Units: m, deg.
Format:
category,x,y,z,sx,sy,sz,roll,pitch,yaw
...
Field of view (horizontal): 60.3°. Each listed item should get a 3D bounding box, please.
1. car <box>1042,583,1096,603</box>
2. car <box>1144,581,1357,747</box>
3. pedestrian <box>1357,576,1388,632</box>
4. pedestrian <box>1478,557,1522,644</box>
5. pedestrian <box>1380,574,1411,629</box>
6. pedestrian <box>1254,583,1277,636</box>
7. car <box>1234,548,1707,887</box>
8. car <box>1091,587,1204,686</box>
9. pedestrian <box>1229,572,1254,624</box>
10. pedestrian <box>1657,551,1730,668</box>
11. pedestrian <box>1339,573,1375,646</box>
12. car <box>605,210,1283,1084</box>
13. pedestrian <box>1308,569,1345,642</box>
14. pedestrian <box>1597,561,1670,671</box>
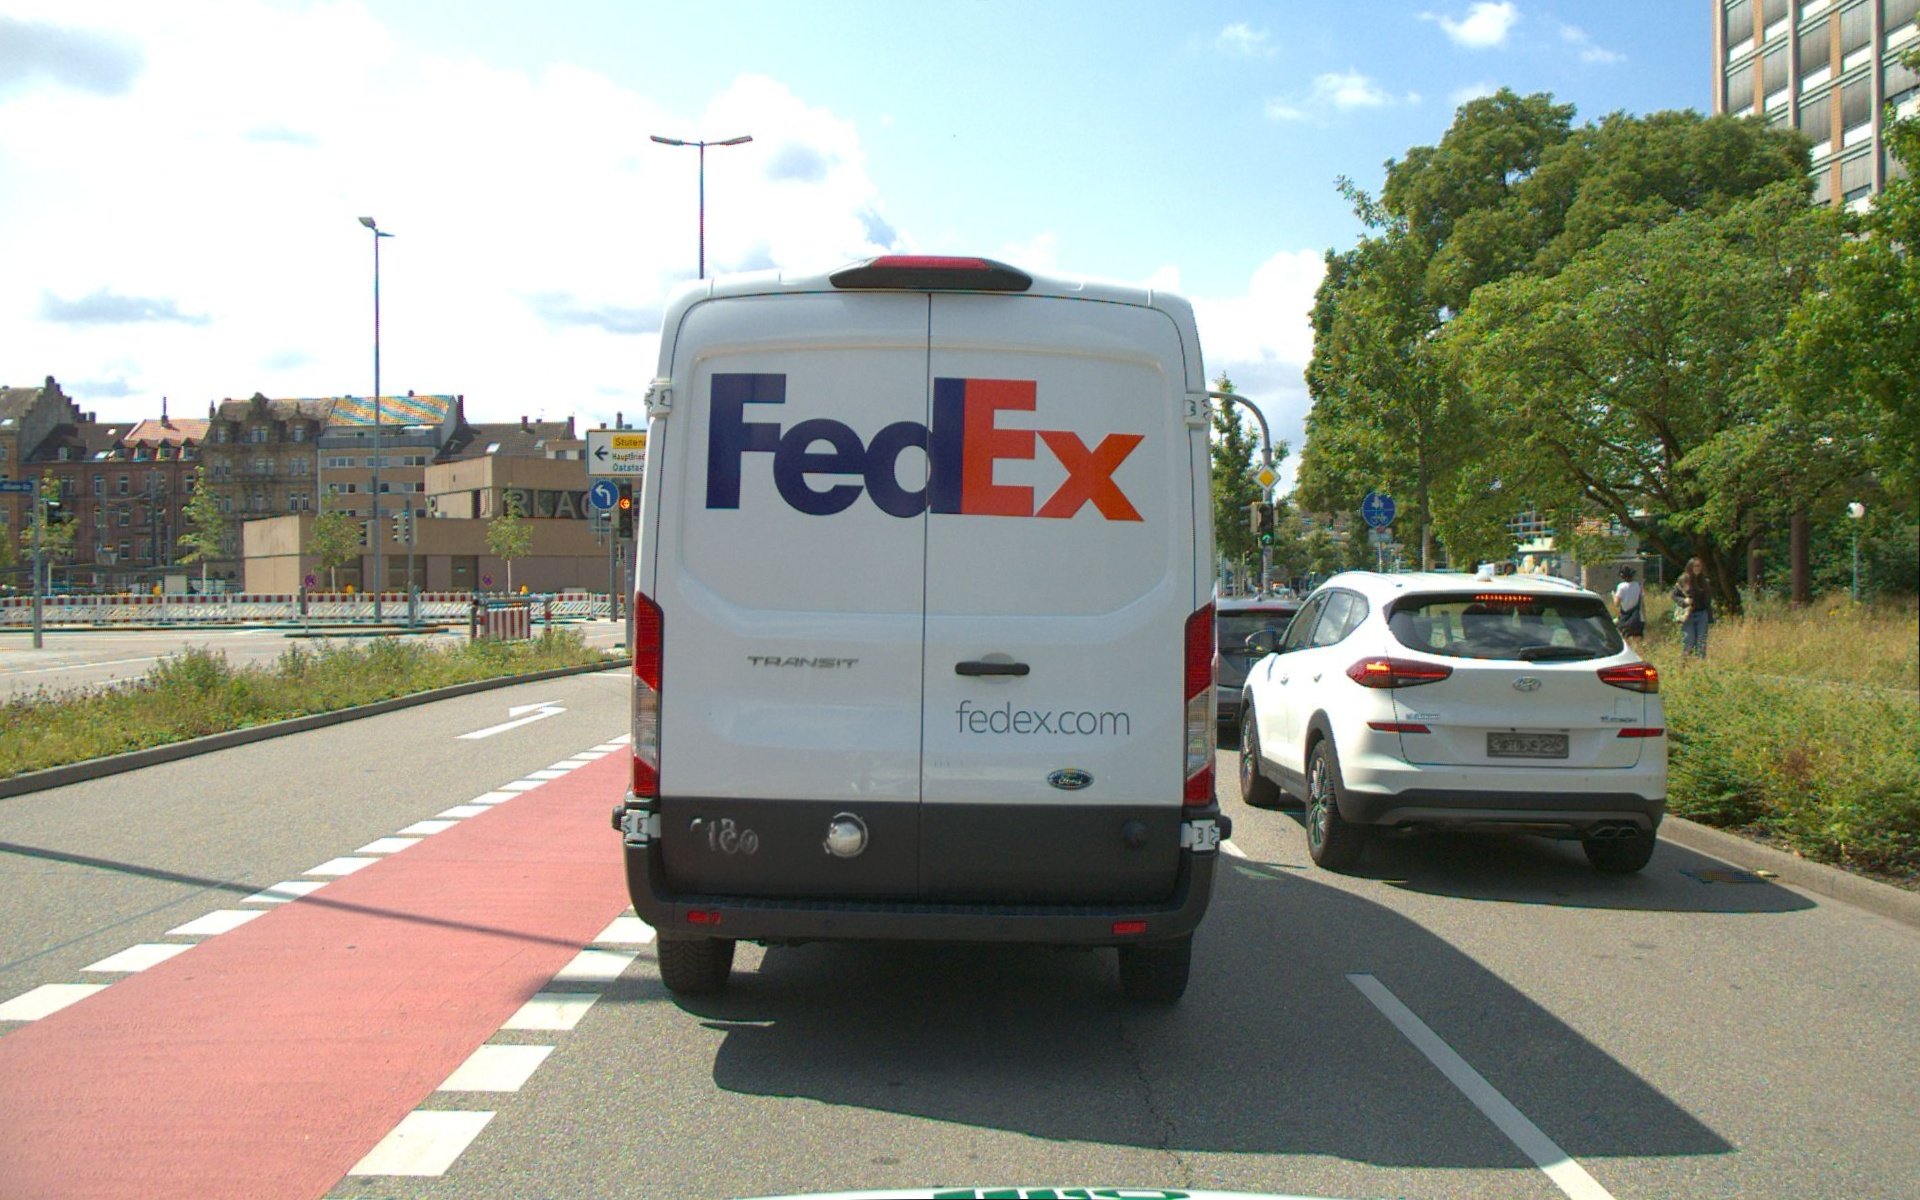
category,x,y,z,sx,sy,sz,roll,pitch,yaw
car,9.424,-0.597,143.098,4.390,1.677,1.888,1,0,40
car,2.983,0.586,17.638,1.656,1.576,3.721,0,1,1
pedestrian,14.029,0.121,56.228,0.745,1.882,0.814,-1,0,-11
pedestrian,11.451,0.002,35.075,0.742,1.820,0.817,0,0,7
pedestrian,14.897,0.042,56.560,0.745,1.882,0.814,0,0,-9
pedestrian,10.932,0.344,59.208,0.742,1.882,0.817,0,0,14
car,2.917,0.572,10.368,1.777,1.708,3.974,0,1,1
car,2.986,0.537,26.877,1.468,1.489,3.474,0,1,1
pedestrian,10.214,-0.076,60.045,0.796,1.882,0.761,0,0,2
pedestrian,10.765,0.126,24.297,0.743,1.684,0.816,0,0,3
pedestrian,10.379,0.236,43.231,0.743,1.882,0.816,0,0,0
car,-0.018,0.118,7.207,2.030,2.626,4.428,0,1,1
pedestrian,9.491,0.133,42.876,0.743,1.882,0.816,0,0,-2
pedestrian,9.949,0.226,24.440,0.743,1.584,0.816,0,0,0
